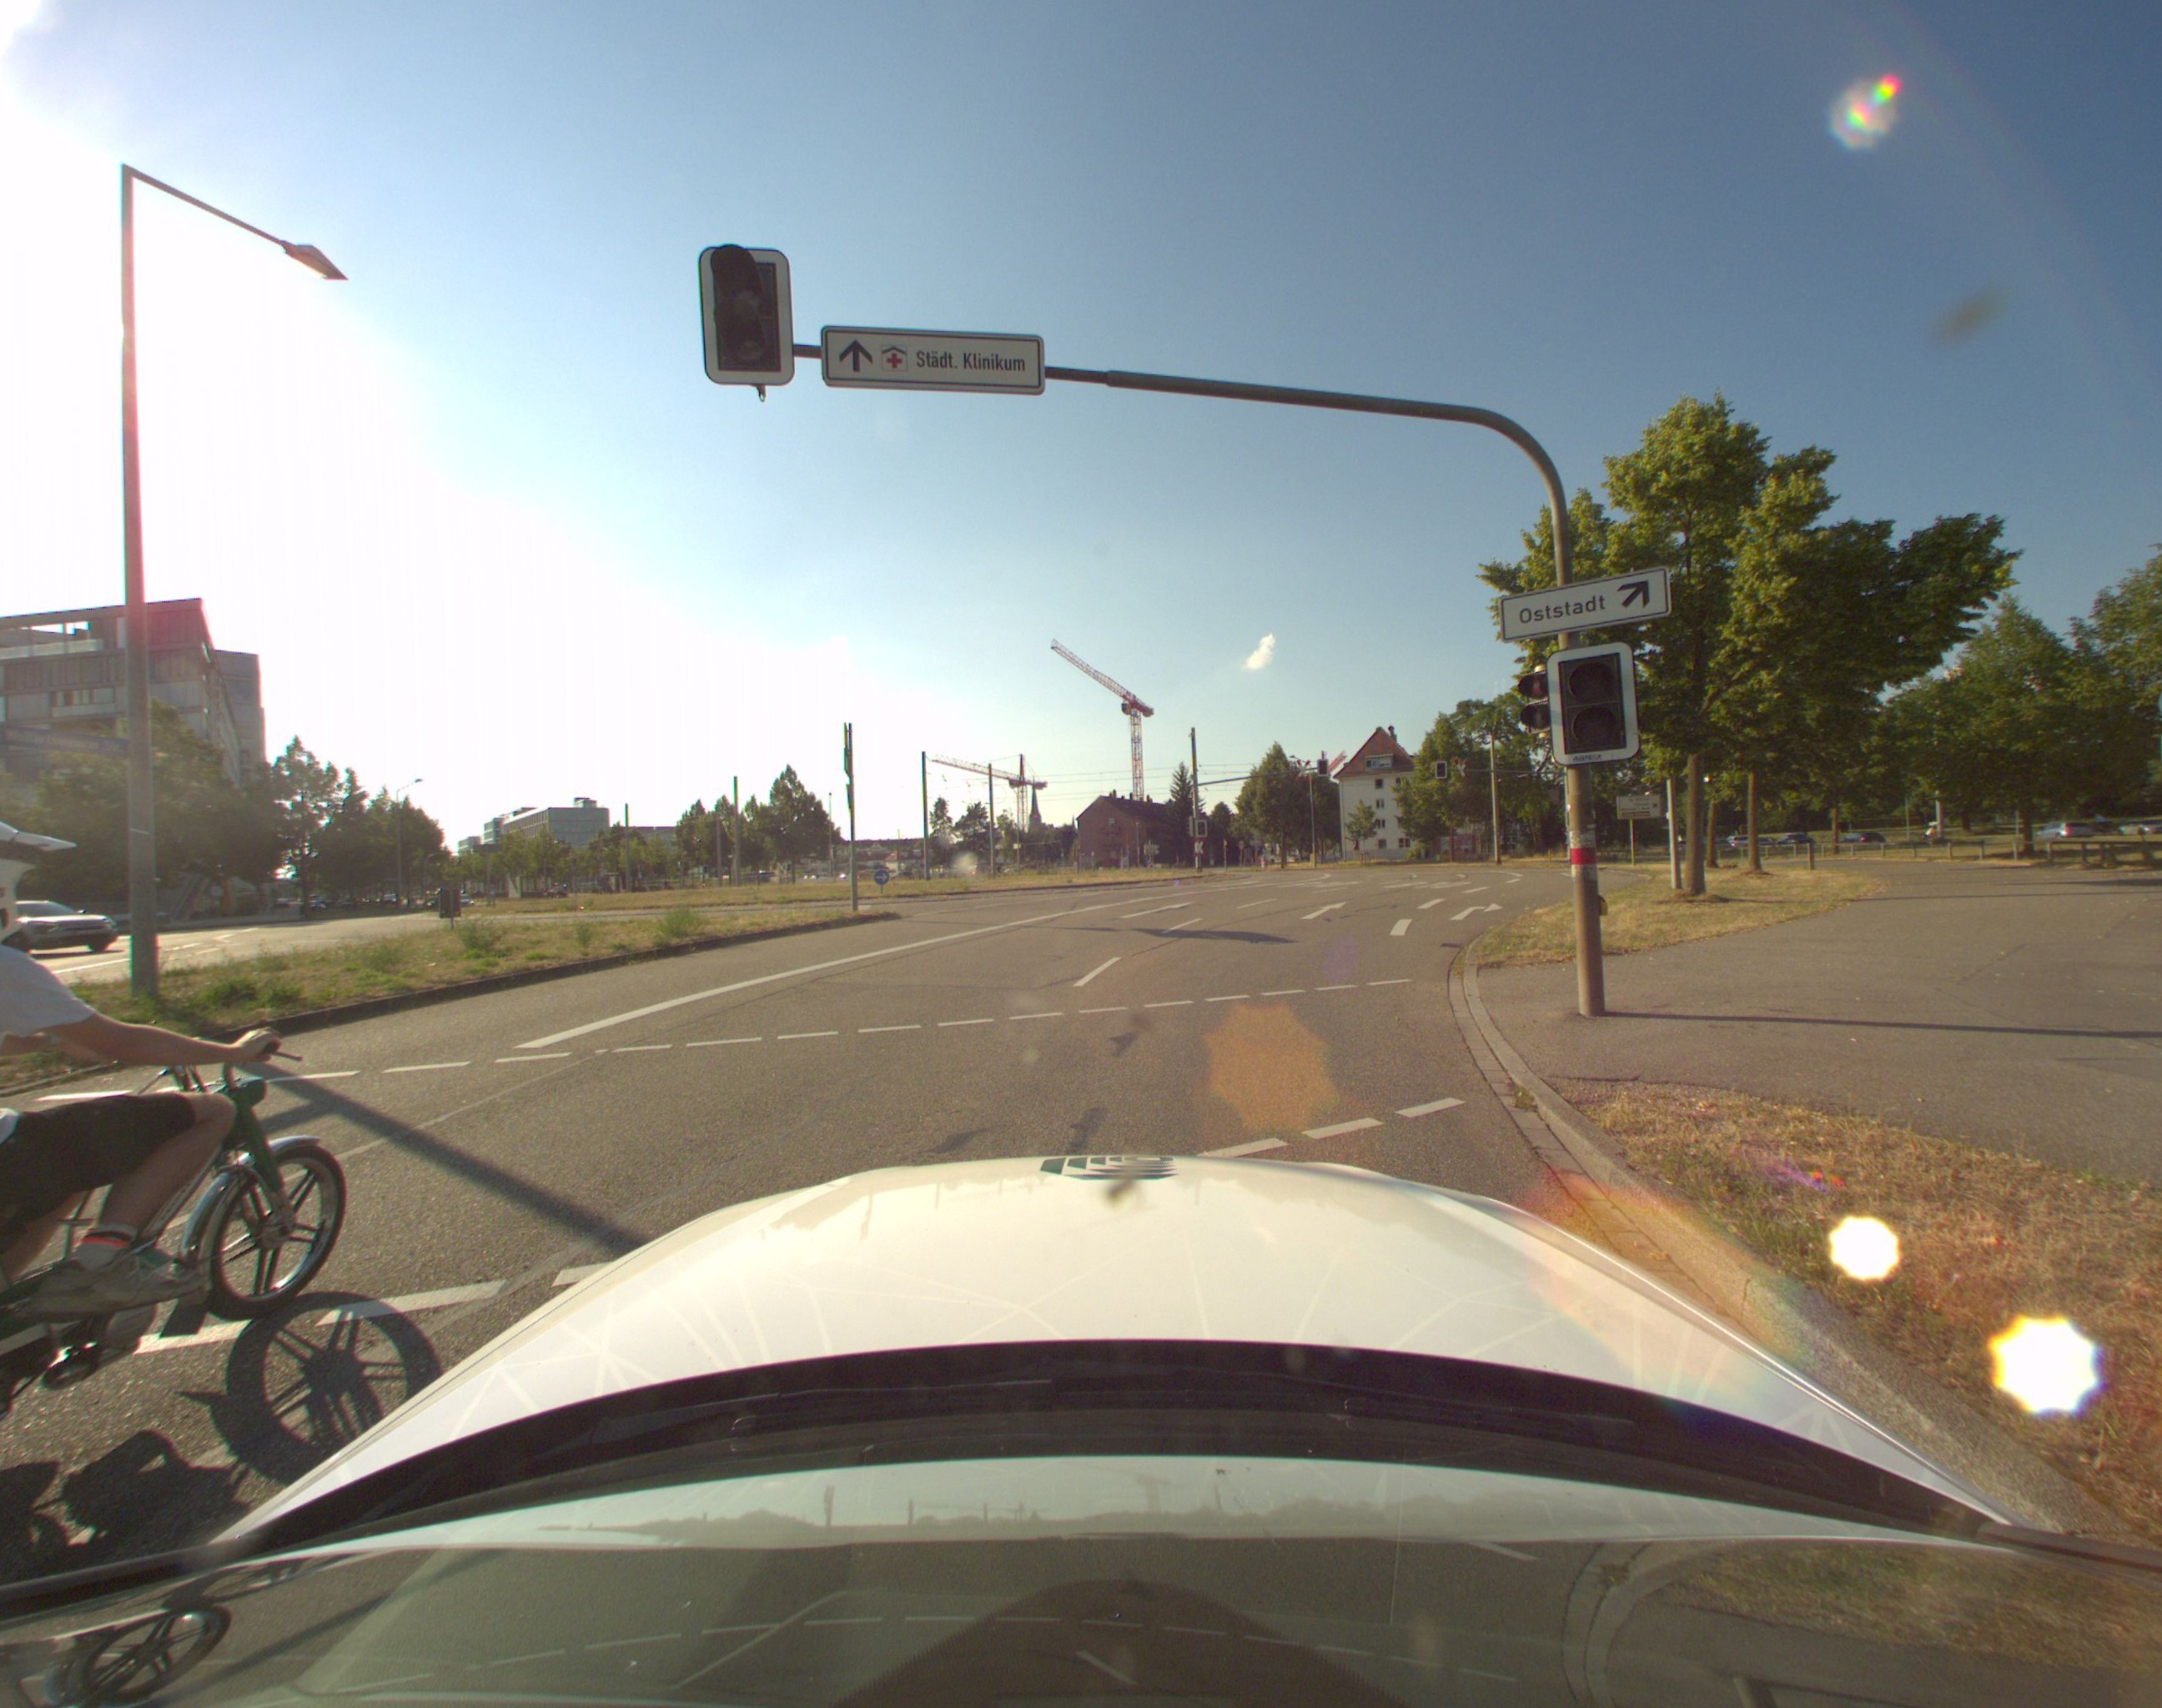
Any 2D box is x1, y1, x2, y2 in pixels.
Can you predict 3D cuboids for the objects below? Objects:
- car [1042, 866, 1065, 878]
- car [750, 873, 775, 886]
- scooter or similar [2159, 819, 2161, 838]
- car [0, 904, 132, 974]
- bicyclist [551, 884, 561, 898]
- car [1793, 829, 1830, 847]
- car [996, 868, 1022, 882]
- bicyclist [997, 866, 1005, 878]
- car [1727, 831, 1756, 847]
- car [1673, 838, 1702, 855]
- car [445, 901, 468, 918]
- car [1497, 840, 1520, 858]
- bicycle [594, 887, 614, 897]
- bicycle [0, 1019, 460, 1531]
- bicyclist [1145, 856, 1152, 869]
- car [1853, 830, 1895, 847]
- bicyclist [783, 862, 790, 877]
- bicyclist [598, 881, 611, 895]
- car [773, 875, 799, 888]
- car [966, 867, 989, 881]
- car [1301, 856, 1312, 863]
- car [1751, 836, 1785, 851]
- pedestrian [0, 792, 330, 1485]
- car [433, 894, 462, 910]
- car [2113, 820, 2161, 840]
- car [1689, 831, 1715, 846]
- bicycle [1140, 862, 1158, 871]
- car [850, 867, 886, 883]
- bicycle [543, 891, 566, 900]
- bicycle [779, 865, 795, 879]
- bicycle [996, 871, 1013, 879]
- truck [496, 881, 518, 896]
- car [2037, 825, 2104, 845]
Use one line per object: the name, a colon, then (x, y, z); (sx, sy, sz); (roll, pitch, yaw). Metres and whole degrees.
car: (-5.064, 3.189, 148.257); (3.776, 2.014, 1.680); (-3, -1, 20)
car: (-53.382, 4.322, 136.657); (3.948, 2.013, 2.013); (-3, -1, 36)
scooter or similar: (15.375, 0.052, 11.164); (1.172, 1.160, 0.340); (-4, -3, -23)
car: (-29.033, 2.353, 22.391); (4.163, 1.673, 1.780); (-2, 0, 7)
bicyclist: (-49.324, 3.463, 76.450); (0.658, 1.325, 0.512); (-2, -1, -45)
car: (63.515, -1.353, 70.852); (1.586, 1.402, 3.993); (-3, -1, 30)
car: (-11.709, 3.384, 132.414); (3.776, 2.014, 1.680); (-3, -1, 20)
bicyclist: (-9.500, 2.158, 96.730); (0.895, 1.396, 0.525); (-2, -1, -4)
car: (67.015, -1.503, 82.662); (1.586, 1.402, 3.993); (-3, -1, 30)
car: (56.027, -0.679, 75.279); (1.586, 1.402, 3.993); (-3, -1, 30)
car: (-58.976, 5.216, 76.912); (1.493, 1.475, 3.260); (-2, -1, -42)
car: (42.576, -0.478, 81.084); (1.754, 1.618, 3.993); (-3, -1, 30)
bicycle: (-47.786, 3.803, 81.579); (1.629, 0.860, 0.538); (-2, -1, -45)
bicycle: (-2.690, 1.094, 2.292); (0.476, 0.876, 1.855); (-2, 0, -1)
bicyclist: (7.858, 1.007, 94.926); (0.621, 1.511, 0.418); (-2, -1, -4)
car: (66.976, -1.265, 68.852); (1.586, 1.310, 3.993); (-3, -1, 30)
bicyclist: (-33.503, 1.741, 92.608); (0.606, 1.672, 0.476); (-2, -1, -9)
bicyclist: (-47.770, 3.370, 81.674); (0.962, 1.357, 0.685); (-2, -1, -42)
car: (-47.574, 4.462, 131.423); (3.948, 2.013, 2.013); (-3, -1, 36)
car: (-14.854, 2.915, 116.405); (1.930, 1.854, 3.963); (-2, -1, -28)
car: (46.344, 1.219, 167.448); (1.442, 1.300, 3.569); (-3, 0, 26)
car: (61.221, -0.902, 72.594); (1.586, 1.221, 3.993); (-3, -1, 30)
pedestrian: (-2.730, 0.637, 2.153); (0.654, 1.519, 0.853); (-2, -1, -2)
car: (-64.033, 4.817, 82.268); (2.011, 1.475, 3.952); (-2, 0, -42)
car: (82.399, -1.874, 62.811); (1.805, 1.403, 4.023); (-3, -1, 26)
car: (64.006, -1.625, 84.002); (1.586, 1.402, 3.993); (-3, -1, 30)
bicycle: (7.960, 1.472, 94.920); (1.983, 0.918, 0.429); (-2, -1, -4)
car: (-27.202, 2.661, 103.825); (4.013, 1.816, 1.980); (-2, -1, -31)
bicycle: (-49.370, 3.917, 76.374); (0.474, 0.744, 1.732); (-3, -1, 45)
bicycle: (-33.447, 2.039, 92.607); (1.539, 1.473, 0.478); (-2, -1, -10)
bicycle: (-9.081, 2.468, 96.689); (1.983, 0.825, 0.429); (-2, -1, -4)
truck: (-134.826, 8.079, 191.244); (3.156, 3.231, 7.084); (-2, -1, -44)
car: (78.184, -1.484, 64.439); (1.805, 1.403, 4.023); (-3, -1, 26)
